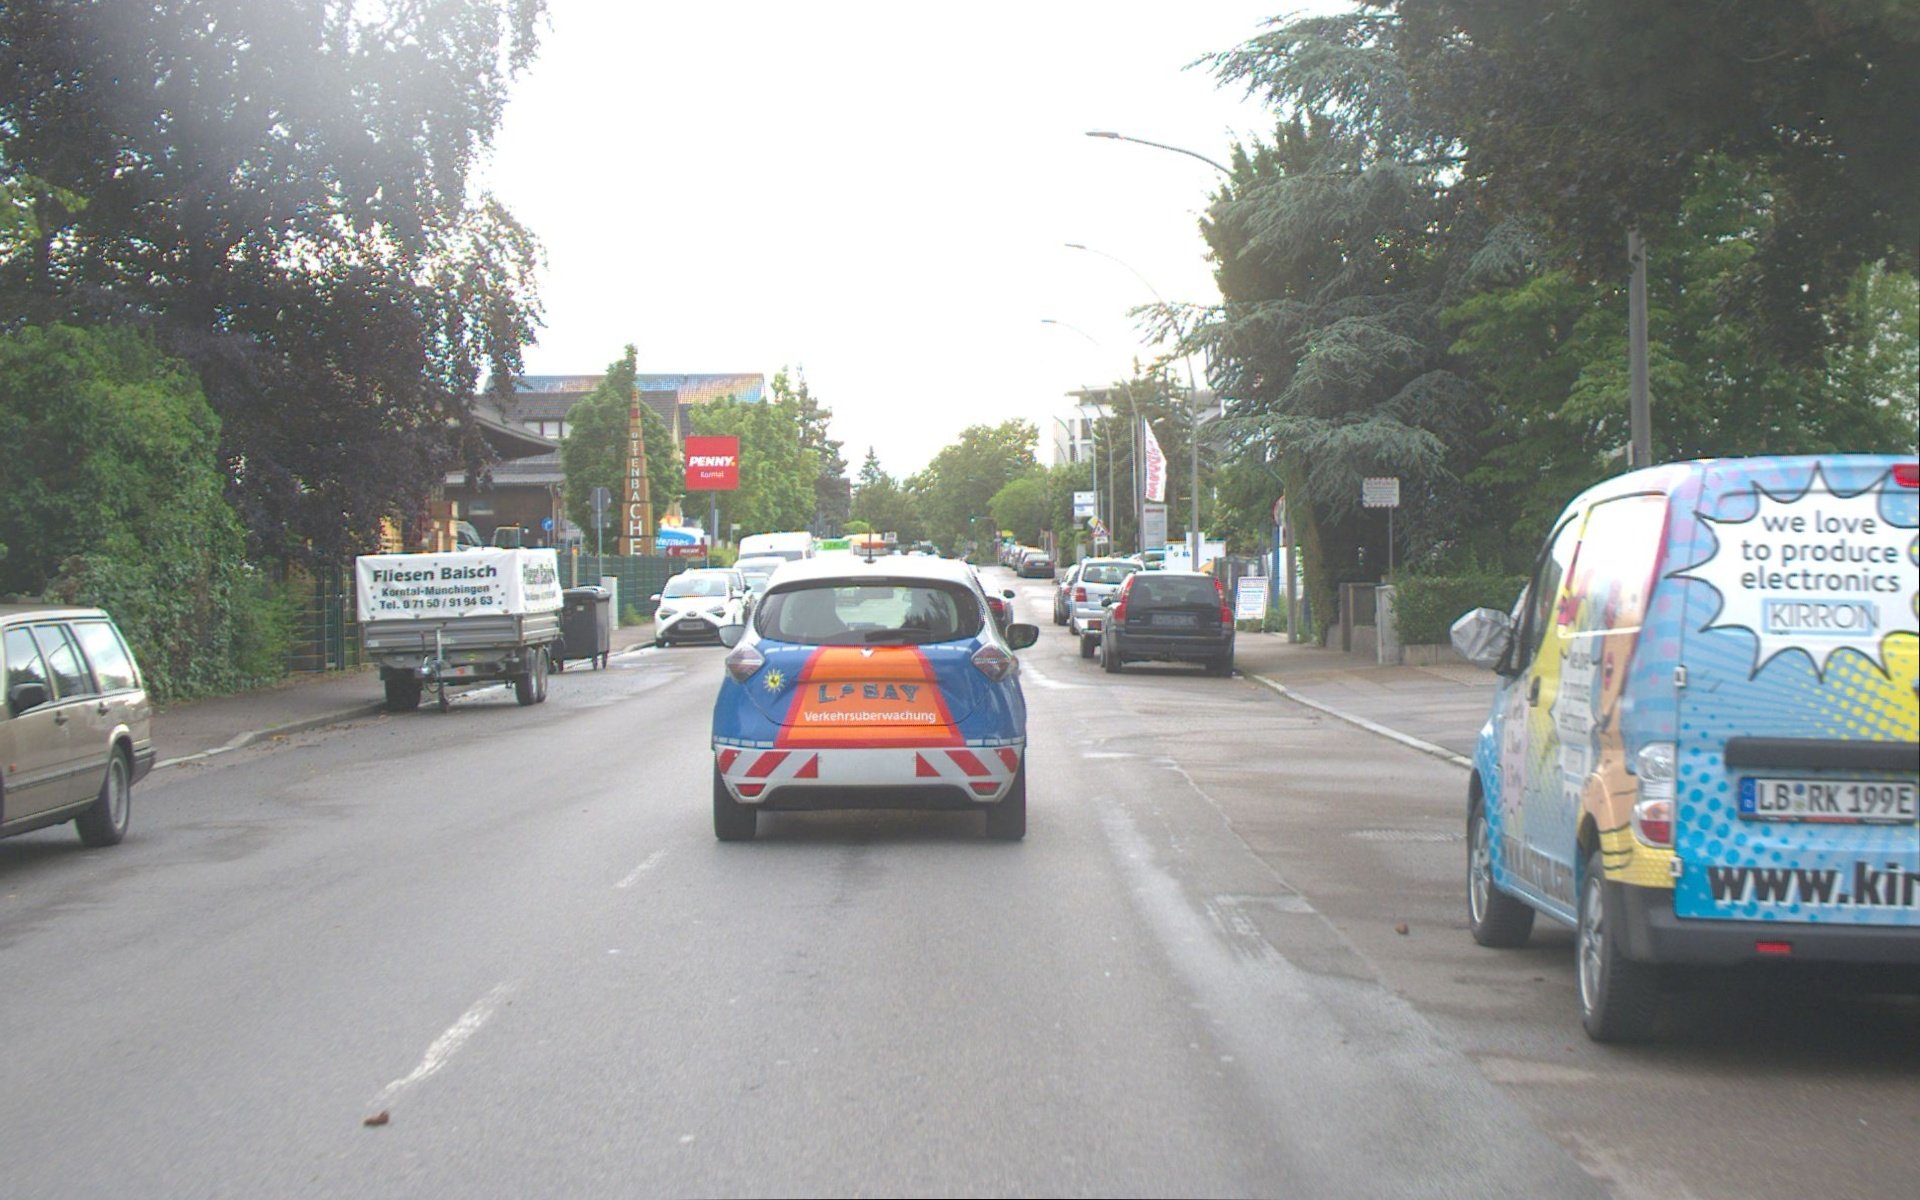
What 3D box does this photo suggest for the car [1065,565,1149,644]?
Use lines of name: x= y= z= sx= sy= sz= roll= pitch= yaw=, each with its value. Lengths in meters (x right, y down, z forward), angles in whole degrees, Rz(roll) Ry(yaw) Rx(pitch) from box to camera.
car: x=3.157 y=0.076 z=74.117 sx=1.739 sy=1.616 sz=4.373 roll=1 pitch=1 yaw=2

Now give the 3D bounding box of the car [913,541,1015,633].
car: x=0.039 y=-0.238 z=59.535 sx=1.650 sy=1.516 sz=4.000 roll=1 pitch=1 yaw=-1

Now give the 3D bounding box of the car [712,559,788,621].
car: x=-5.200 y=-0.262 z=85.468 sx=1.661 sy=1.443 sz=4.318 roll=-2 pitch=1 yaw=-1

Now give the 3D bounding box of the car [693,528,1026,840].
car: x=-0.541 y=0.421 z=19.779 sx=1.731 sy=1.625 sz=3.495 roll=0 pitch=1 yaw=0

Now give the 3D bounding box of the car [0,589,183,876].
car: x=-5.757 y=0.696 z=18.736 sx=1.816 sy=1.422 sz=4.981 roll=-2 pitch=1 yaw=1

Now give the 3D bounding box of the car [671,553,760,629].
car: x=-5.391 y=-0.212 z=76.251 sx=1.661 sy=1.579 sz=3.916 roll=-2 pitch=1 yaw=0

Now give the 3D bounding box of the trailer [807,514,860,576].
trailer: x=-4.961 y=-2.173 z=135.168 sx=1.812 sy=2.306 sz=4.730 roll=-3 pitch=1 yaw=0

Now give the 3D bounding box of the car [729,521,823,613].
car: x=-5.176 y=-0.964 z=97.694 sx=2.158 sy=2.418 sz=6.460 roll=-3 pitch=1 yaw=0

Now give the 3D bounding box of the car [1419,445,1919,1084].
car: x=2.886 y=0.458 z=12.712 sx=1.731 sy=1.822 sz=5.553 roll=2 pitch=1 yaw=2

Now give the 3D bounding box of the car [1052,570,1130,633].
car: x=3.179 y=0.016 z=83.971 sx=1.738 sy=1.461 sz=4.546 roll=1 pitch=1 yaw=0

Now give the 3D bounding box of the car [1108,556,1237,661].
car: x=3.025 y=0.093 z=49.630 sx=1.740 sy=1.428 sz=4.648 roll=1 pitch=1 yaw=2

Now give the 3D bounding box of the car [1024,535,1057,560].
car: x=4.382 y=-2.838 z=187.142 sx=1.589 sy=1.336 sz=4.093 roll=0 pitch=1 yaw=-1

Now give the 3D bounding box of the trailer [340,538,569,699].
trailer: x=-5.818 y=0.171 z=40.069 sx=1.929 sy=1.759 sz=4.548 roll=0 pitch=1 yaw=1

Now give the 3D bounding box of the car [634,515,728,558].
car: x=-13.467 y=-3.044 z=166.242 sx=4.306 sy=2.007 sz=2.063 roll=1 pitch=0 yaw=1

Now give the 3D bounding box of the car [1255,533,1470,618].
car: x=9.277 y=-0.578 z=79.493 sx=4.731 sy=1.880 sz=2.000 roll=1 pitch=0 yaw=1

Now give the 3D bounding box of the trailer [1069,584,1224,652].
trailer: x=2.962 y=0.260 z=55.970 sx=2.174 sy=0.894 sz=6.636 roll=1 pitch=1 yaw=0

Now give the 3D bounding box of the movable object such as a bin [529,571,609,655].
movable object such as a bin: x=-6.219 y=0.194 z=54.769 sx=1.101 sy=1.306 sz=1.425 roll=1 pitch=0 yaw=0

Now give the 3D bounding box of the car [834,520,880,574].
car: x=-4.937 y=-2.548 z=165.231 sx=2.124 sy=2.529 sz=6.022 roll=0 pitch=1 yaw=-1

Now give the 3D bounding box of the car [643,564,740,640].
car: x=-5.538 y=0.020 z=71.243 sx=1.616 sy=1.504 sz=3.660 roll=-2 pitch=1 yaw=1
